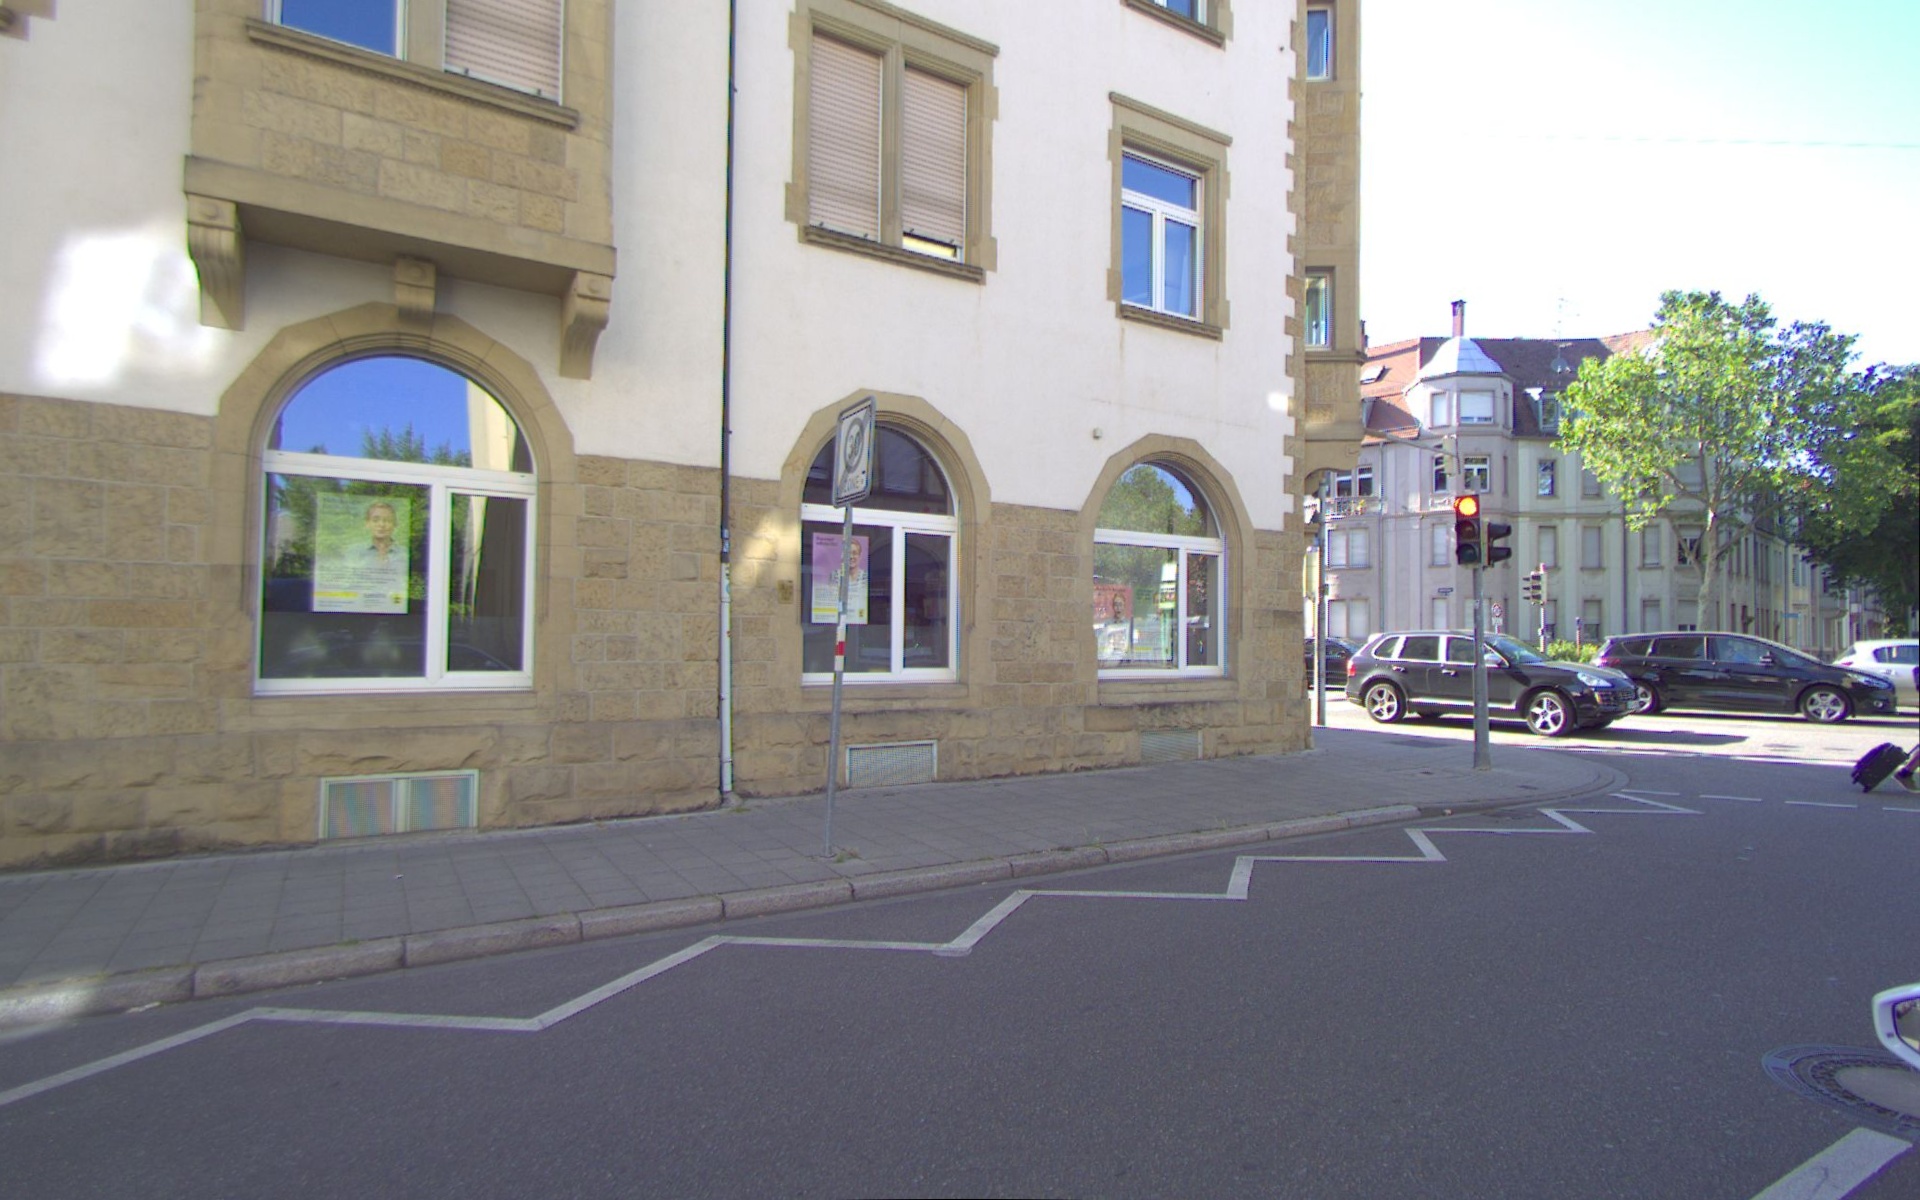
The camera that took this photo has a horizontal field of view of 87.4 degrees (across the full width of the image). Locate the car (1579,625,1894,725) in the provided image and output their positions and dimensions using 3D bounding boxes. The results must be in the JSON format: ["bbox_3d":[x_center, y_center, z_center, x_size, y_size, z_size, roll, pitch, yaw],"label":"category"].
[{"bbox_3d":[14.800,1.392,19.359,1.719,1.686,4.615,2,-4,-45],"label":"car"}]

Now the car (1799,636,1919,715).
[{"bbox_3d":[18.985,1.445,19.342,1.667,1.476,4.162,1,-2,-43],"label":"car"}]

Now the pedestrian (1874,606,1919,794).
[{"bbox_3d":[10.019,0.993,10.121,0.743,1.872,1.056,2,-4,-42],"label":"pedestrian"}]

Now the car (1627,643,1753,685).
[{"bbox_3d":[27.386,2.370,37.735,3.736,1.419,1.639,-1,-2,40],"label":"car"}]

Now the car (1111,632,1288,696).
[{"bbox_3d":[6.641,1.729,28.148,4.567,1.476,1.721,1,-1,43],"label":"car"}]

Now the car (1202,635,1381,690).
[{"bbox_3d":[9.530,1.755,29.150,1.967,1.475,4.576,2,-3,-42],"label":"car"}]

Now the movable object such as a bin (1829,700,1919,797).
[{"bbox_3d":[9.511,1.512,10.285,0.506,0.904,0.854,2,-3,-42],"label":"movable object such as a bin"}]

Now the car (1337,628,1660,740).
[{"bbox_3d":[9.385,1.370,17.858,2.061,1.716,4.657,2,-2,-38],"label":"car"}]

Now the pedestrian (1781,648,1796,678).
[{"bbox_3d":[41.087,3.115,49.826,0.483,1.461,0.701,2,0,44],"label":"pedestrian"}]
